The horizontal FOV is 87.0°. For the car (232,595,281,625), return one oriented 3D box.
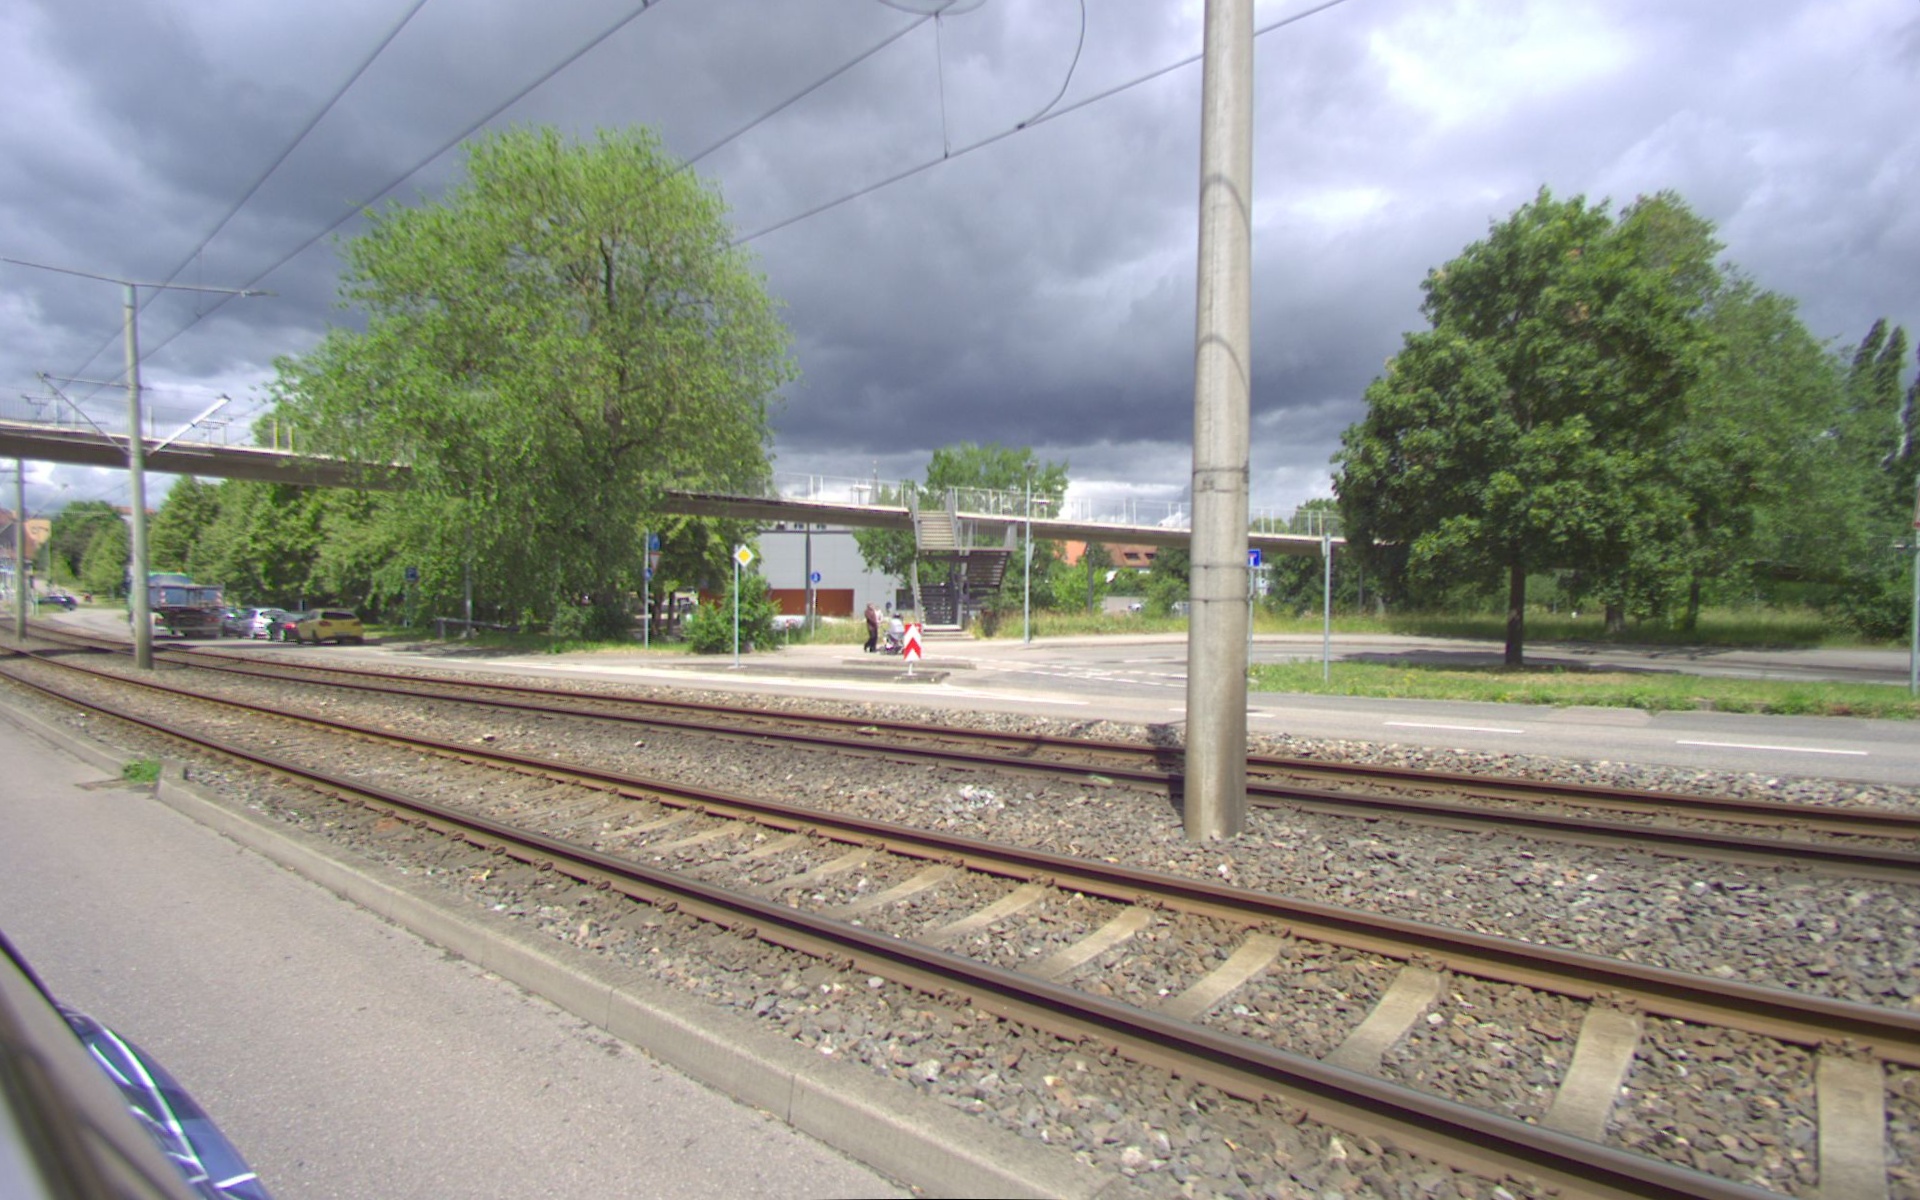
[{"bbox_3d":[-39.660,0.530,57.017,1.539,1.608,4.163,2,-1,-44],"label":"car"}]

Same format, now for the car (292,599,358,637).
[{"bbox_3d":[-28.257,0.766,44.983,1.669,1.461,3.902,-2,4,-44],"label":"car"}]

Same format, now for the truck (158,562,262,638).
[{"bbox_3d":[-36.549,-0.167,49.168,2.838,3.344,9.038,-3,3,-44],"label":"truck"}]

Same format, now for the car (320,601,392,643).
[{"bbox_3d":[-24.854,0.855,41.612,1.669,1.461,3.902,-2,4,-44],"label":"car"}]

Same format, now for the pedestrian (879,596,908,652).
[{"bbox_3d":[-2.179,0.766,33.261,0.653,1.769,0.718,-2,3,-44],"label":"pedestrian"}]

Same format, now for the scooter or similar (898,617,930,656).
[{"bbox_3d":[-1.475,1.169,32.501,0.702,1.155,0.788,-2,3,-43],"label":"scooter or similar"}]
